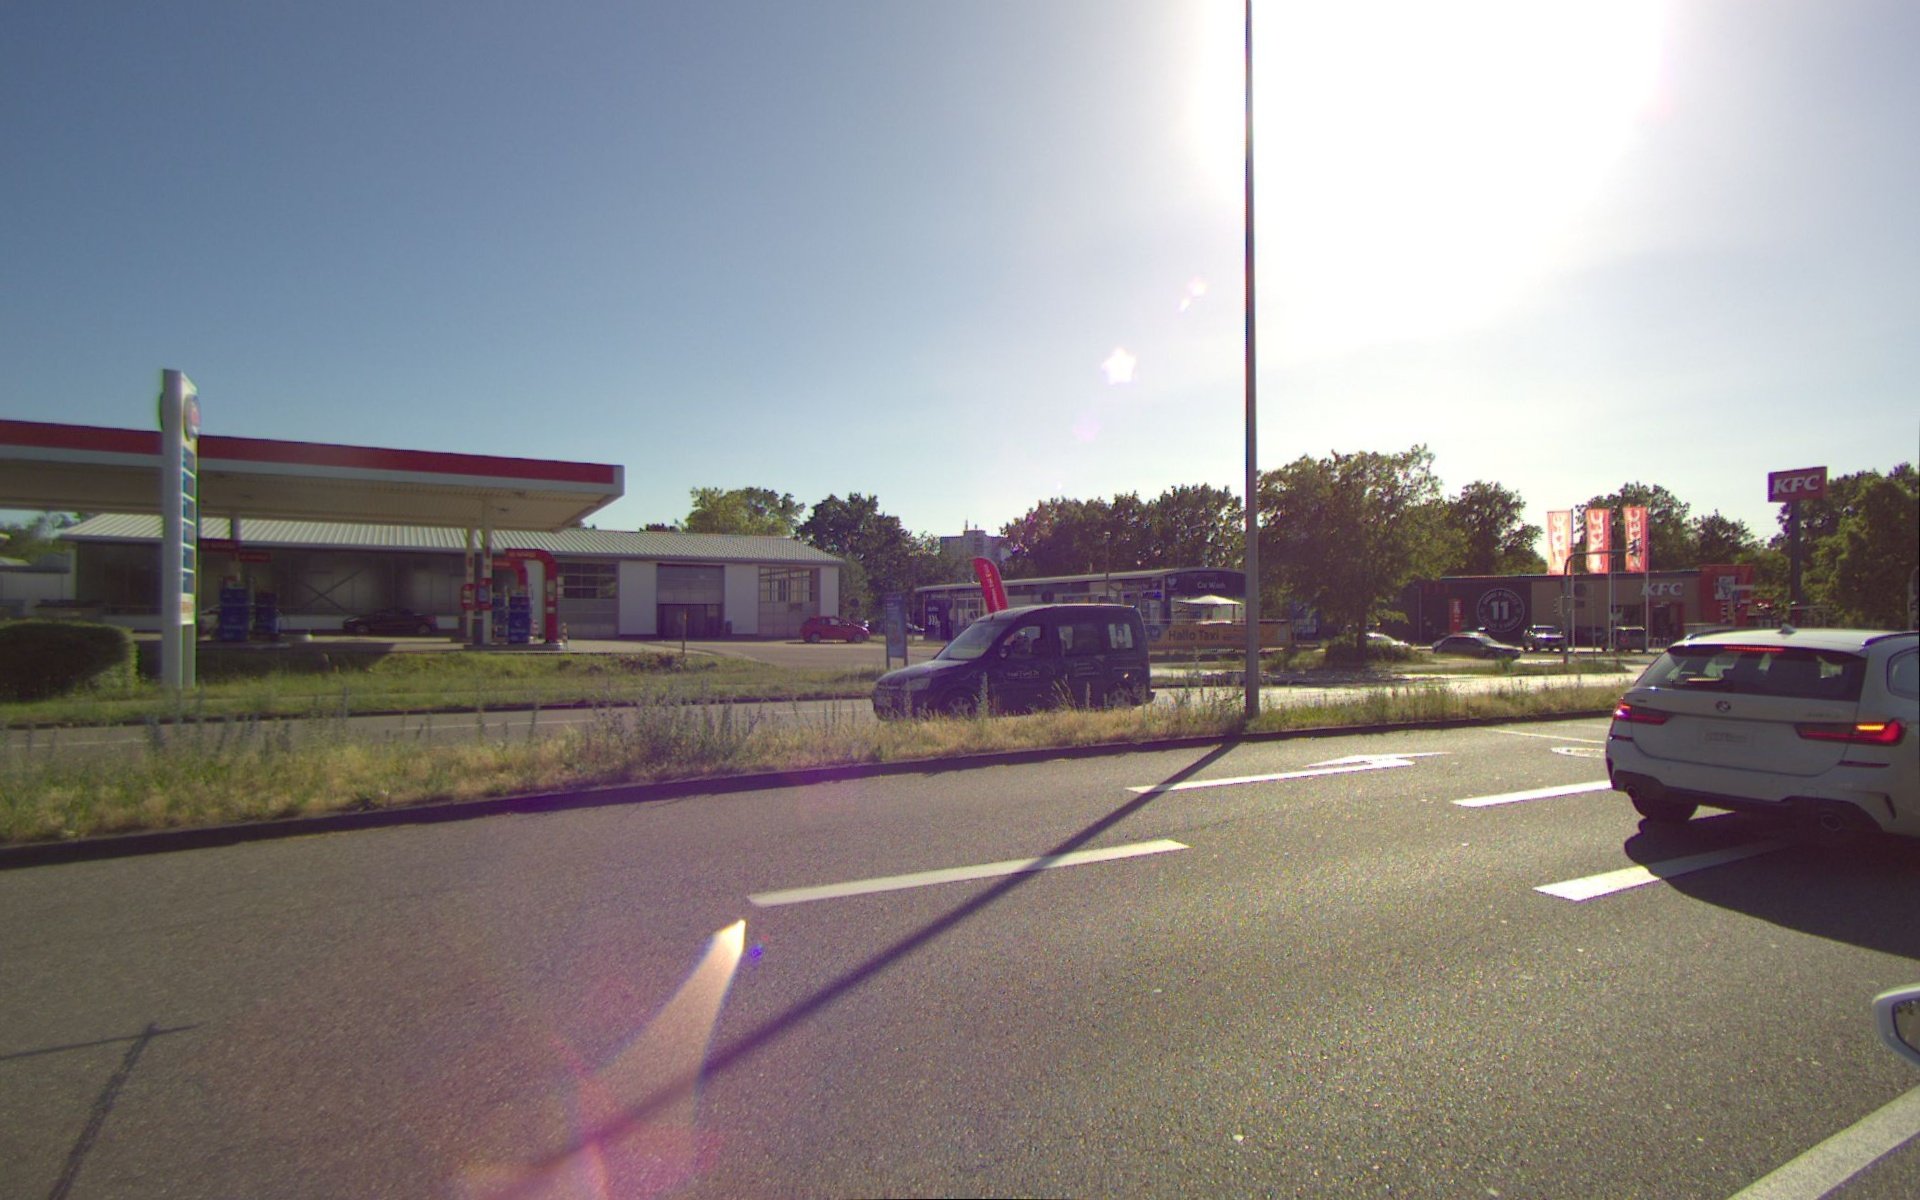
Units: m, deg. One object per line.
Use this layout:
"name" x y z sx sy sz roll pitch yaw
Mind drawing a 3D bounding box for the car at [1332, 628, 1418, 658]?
"car" 25.164 2.562 61.060 1.914 1.600 4.599 2 0 -31

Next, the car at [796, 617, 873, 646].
"car" -6.989 1.747 55.940 3.948 1.491 1.521 2 0 -24

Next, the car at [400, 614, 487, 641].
"car" -25.097 1.345 48.818 3.687 1.203 1.667 2 0 -30

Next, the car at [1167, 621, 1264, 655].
"car" 11.891 1.765 46.781 3.941 1.461 1.990 2 0 -21

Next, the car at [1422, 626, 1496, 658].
"car" 31.699 2.650 63.859 1.977 1.837 3.742 2 0 -30

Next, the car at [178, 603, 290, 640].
"car" -32.190 0.946 44.669 3.812 1.508 1.984 2 0 -30

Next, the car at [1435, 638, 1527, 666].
"car" 28.301 2.794 54.661 1.850 1.268 4.062 2 0 -31

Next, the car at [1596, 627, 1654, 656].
"car" 44.028 2.698 66.597 1.896 1.763 4.099 2 0 14

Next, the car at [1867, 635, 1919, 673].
"car" 46.581 2.603 48.881 4.254 1.749 1.801 1 0 -18

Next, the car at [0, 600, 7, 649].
"car" -29.930 0.689 28.398 3.953 1.423 1.984 1 -1 -30

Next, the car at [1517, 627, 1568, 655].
"car" 39.251 2.728 67.805 1.896 1.763 4.099 2 0 14

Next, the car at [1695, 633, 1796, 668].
"car" 40.306 2.578 51.678 3.702 1.579 1.998 2 0 26

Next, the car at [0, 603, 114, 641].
"car" -38.269 0.913 41.695 4.489 1.486 1.984 2 0 -30

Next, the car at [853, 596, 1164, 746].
"car" 0.757 0.949 14.459 4.246 1.872 1.669 2 0 -31

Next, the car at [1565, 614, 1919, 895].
"car" 6.683 0.924 7.443 4.542 1.506 1.803 2 0 -30
